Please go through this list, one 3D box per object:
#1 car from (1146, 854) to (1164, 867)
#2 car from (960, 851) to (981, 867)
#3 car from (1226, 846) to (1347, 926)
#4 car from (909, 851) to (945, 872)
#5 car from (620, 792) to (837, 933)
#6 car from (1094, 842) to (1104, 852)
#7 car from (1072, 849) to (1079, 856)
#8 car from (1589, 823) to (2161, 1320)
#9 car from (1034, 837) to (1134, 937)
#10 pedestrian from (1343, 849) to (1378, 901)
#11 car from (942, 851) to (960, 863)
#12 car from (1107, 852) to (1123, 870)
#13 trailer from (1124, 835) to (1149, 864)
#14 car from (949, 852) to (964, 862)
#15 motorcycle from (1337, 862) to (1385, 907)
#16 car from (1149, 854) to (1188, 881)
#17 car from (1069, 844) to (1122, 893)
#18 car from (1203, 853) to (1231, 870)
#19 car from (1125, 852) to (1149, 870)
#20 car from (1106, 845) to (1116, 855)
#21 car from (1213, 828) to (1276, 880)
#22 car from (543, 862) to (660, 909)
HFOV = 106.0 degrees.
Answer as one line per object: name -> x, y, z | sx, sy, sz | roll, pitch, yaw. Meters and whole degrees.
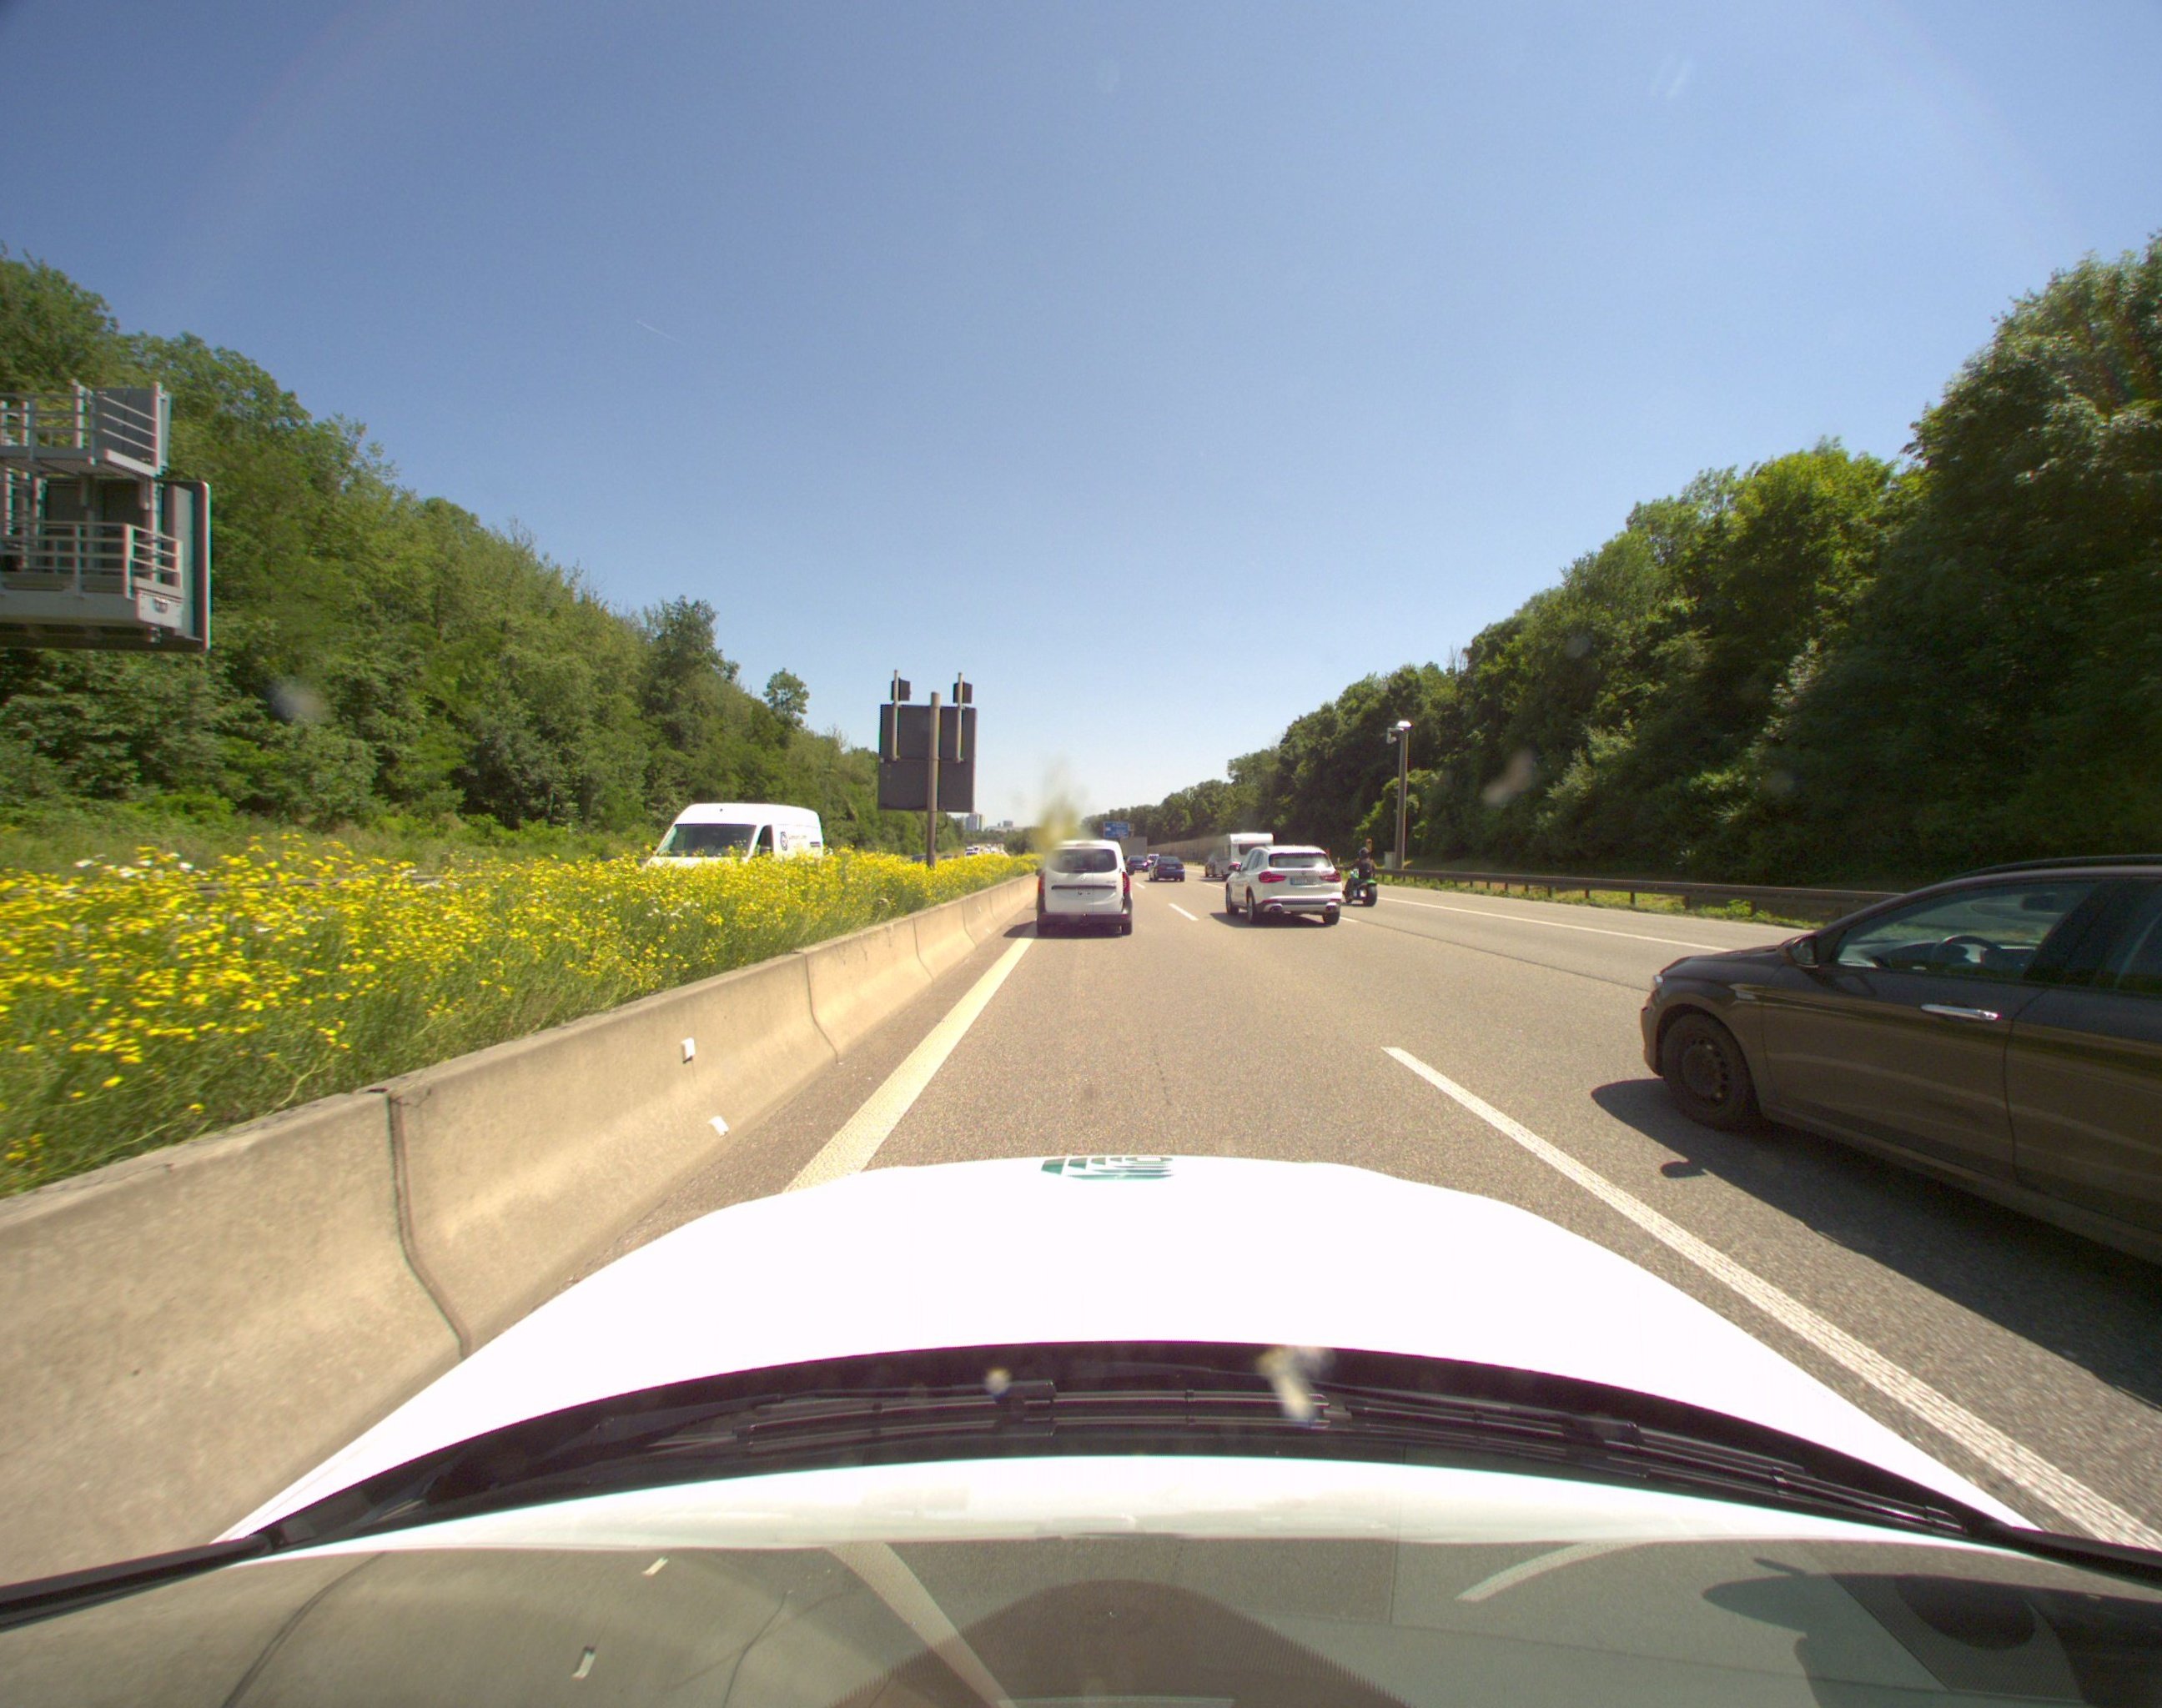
car -> 8.437, 0.751, 92.863 | 1.817, 1.424, 4.001 | 0, 0, 2
car -> -13.711, 0.613, 101.100 | 1.987, 2.013, 3.999 | 0, 0, 0
car -> 4.477, 0.641, 18.317 | 1.864, 1.608, 3.880 | 0, 0, 2
car -> -11.444, 0.553, 60.644 | 1.836, 1.519, 3.870 | 0, 0, 1
car -> -7.275, 0.151, 17.701 | 1.986, 2.541, 5.911 | 0, 0, 2
car -> 3.946, -1.548, 177.921 | 1.988, 2.013, 3.997 | 0, 0, -2
car -> -1.667, -0.409, 254.623 | 1.986, 2.013, 4.002 | 0, 0, 2
car -> 4.217, 0.660, 3.113 | 1.832, 1.513, 4.401 | 0, 1, 0
car -> 0.094, 0.592, 16.705 | 1.796, 1.808, 4.001 | 0, 0, 1
pedestrian -> 8.076, 0.596, 23.540 | 0.847, 1.478, 0.639 | 0, 0, 5
car -> -18.736, 0.424, 117.094 | 1.988, 1.755, 3.998 | 0, 0, -1
car -> 3.871, 0.782, 92.775 | 1.817, 1.989, 4.001 | 0, 0, 2
trailer -> 7.780, -0.596, 114.838 | 3.070, 3.985, 10.327 | 0, 0, 2
car -> -21.204, 0.526, 138.823 | 1.989, 1.761, 3.996 | 0, 0, -3
motorcycle -> 8.107, 0.854, 23.686 | 0.855, 1.181, 2.280 | 0, 1, 6
car -> 4.763, 0.723, 44.882 | 1.817, 1.424, 4.001 | 0, 0, 2
car -> 0.614, 0.553, 33.064 | 1.986, 1.860, 4.001 | 0, 0, 1
car -> 11.479, 0.604, 68.802 | 1.817, 1.424, 4.001 | 0, 0, 2
car -> 4.688, 0.590, 68.751 | 1.817, 1.424, 4.001 | 0, 0, 2
car -> 5.910, -0.770, 160.715 | 1.986, 2.013, 4.002 | 0, 0, 2
car -> 9.168, -0.010, 46.231 | 2.470, 2.766, 6.222 | 0, 0, 2
car -> -16.088, 1.016, 27.551 | 1.781, 1.454, 3.543 | 0, 0, 2
